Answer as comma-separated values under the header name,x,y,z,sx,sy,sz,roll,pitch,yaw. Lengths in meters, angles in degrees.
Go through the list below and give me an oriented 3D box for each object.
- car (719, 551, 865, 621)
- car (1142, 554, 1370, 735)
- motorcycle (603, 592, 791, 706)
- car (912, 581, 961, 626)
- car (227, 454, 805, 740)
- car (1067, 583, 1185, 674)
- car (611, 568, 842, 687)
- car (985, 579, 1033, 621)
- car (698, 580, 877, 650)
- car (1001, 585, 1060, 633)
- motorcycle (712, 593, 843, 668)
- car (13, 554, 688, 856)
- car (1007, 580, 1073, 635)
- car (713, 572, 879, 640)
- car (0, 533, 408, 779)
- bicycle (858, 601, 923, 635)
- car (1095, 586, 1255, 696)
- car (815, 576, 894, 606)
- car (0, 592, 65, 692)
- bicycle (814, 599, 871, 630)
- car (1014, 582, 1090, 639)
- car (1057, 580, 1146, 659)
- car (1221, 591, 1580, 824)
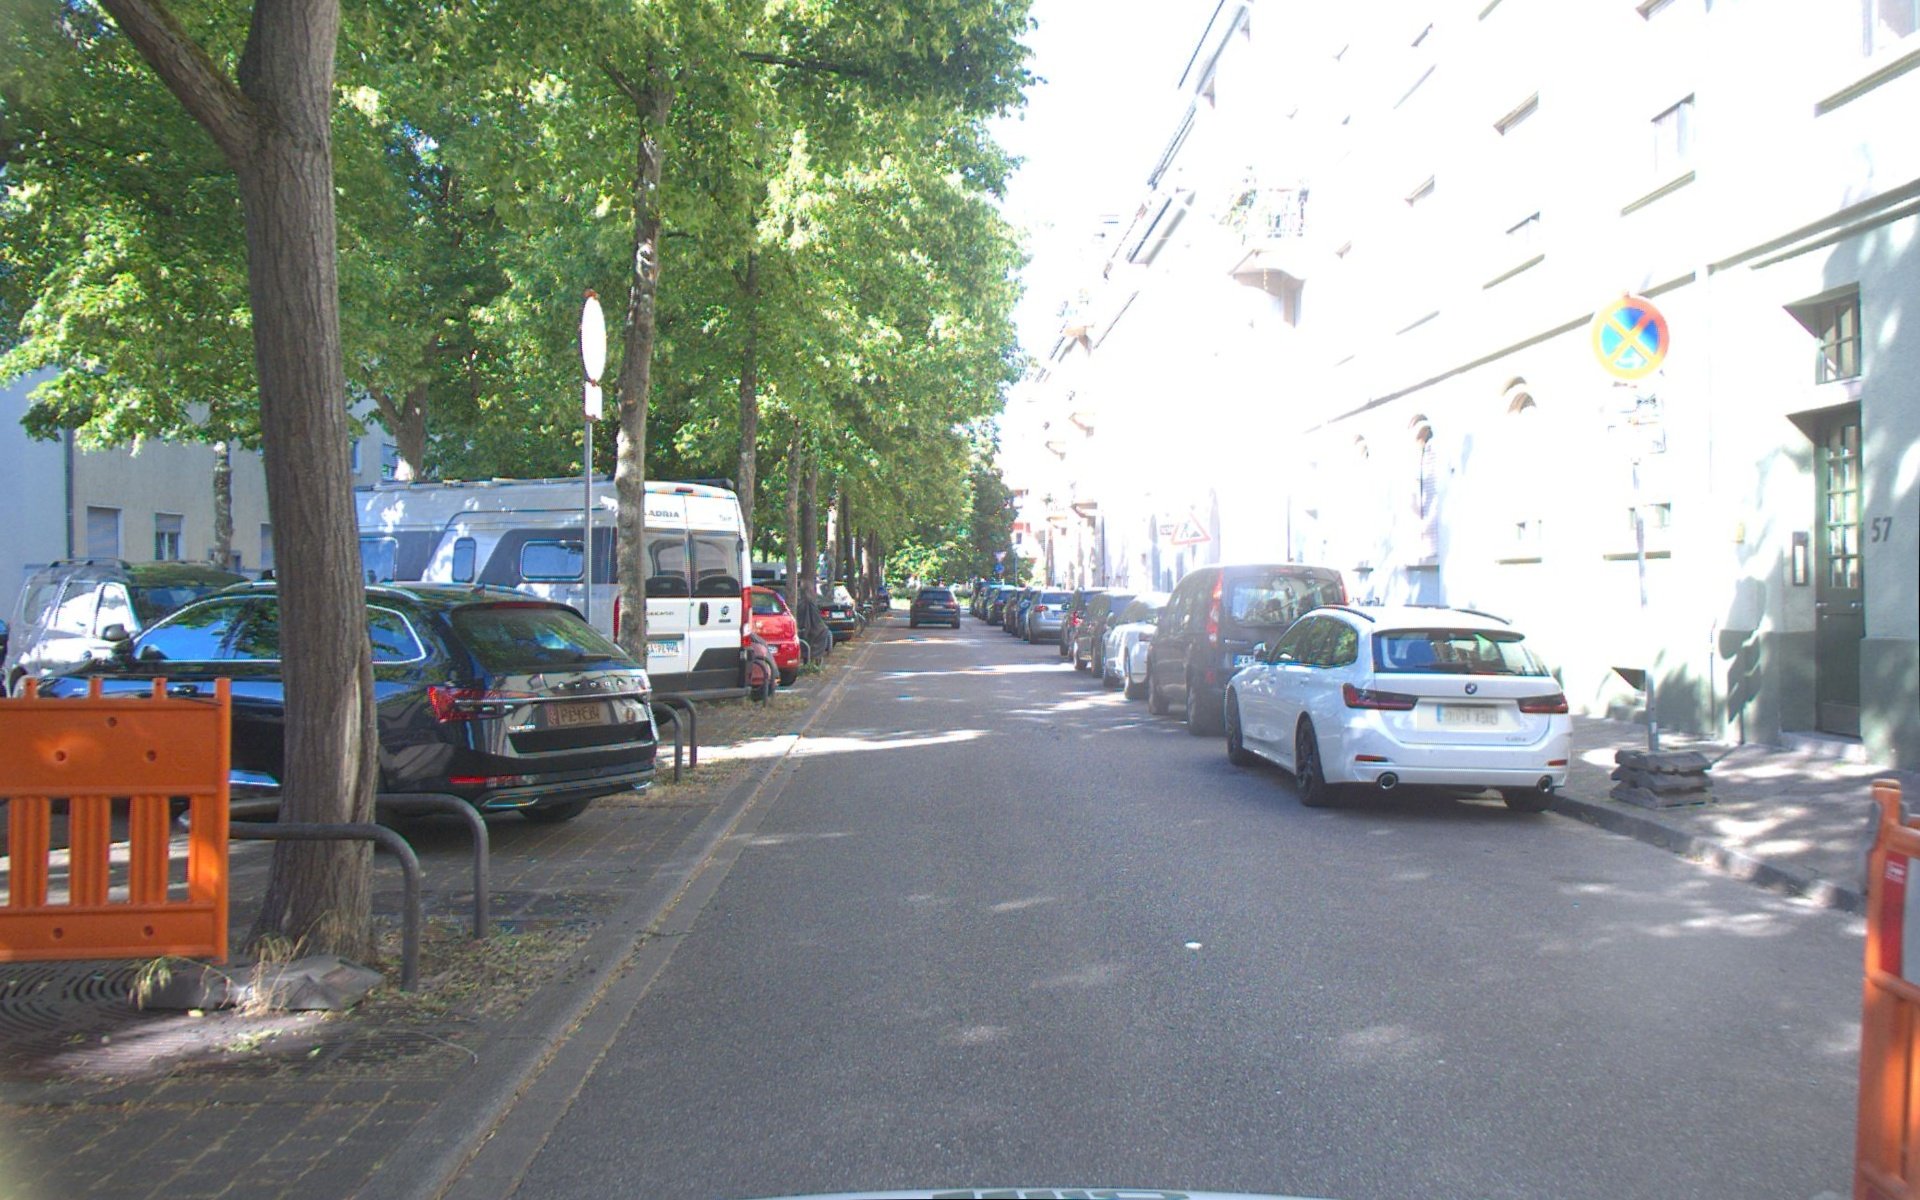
name,x,y,z,sx,sy,sz,roll,pitch,yaw
car,-7.556,-0.584,74.461,5.936,2.668,2.457,-4,-2,14
car,3.259,0.437,18.960,1.736,1.825,3.988,-1,0,-2
motorcycle,-3.326,0.599,20.947,2.277,1.358,0.966,-1,0,-11
car,-0.830,0.102,59.766,1.679,1.509,4.144,-1,1,0
car,-4.843,-0.047,17.661,6.191,2.603,2.333,1,0,31
car,2.946,0.471,29.982,1.567,1.518,3.965,-1,0,-2
car,-3.596,0.384,25.009,1.649,1.646,3.822,-2,1,-41
car,1.909,-0.019,65.416,1.768,1.591,4.320,-1,1,0
car,-3.951,0.350,37.755,3.937,1.499,1.621,-1,1,34
car,2.299,0.273,54.654,1.658,1.493,4.004,1,0,-1
motorcycle,-3.143,0.512,28.613,2.101,1.251,0.882,0,0,7
car,-3.820,0.594,10.255,4.009,1.552,1.699,-1,-3,29
car,2.392,0.187,50.275,1.731,1.579,4.183,-1,0,-1
car,-4.373,0.144,44.047,3.996,1.682,1.861,1,0,26
car,-7.109,0.433,15.261,4.306,1.948,1.988,0,0,42
bicycle,-2.001,0.508,47.792,1.858,0.935,0.379,1,0,18
car,3.058,0.531,24.377,1.574,1.445,4.566,-1,0,-2
car,-5.666,-0.490,88.423,4.015,1.492,1.862,1,-1,-10
car,-15.071,0.663,24.352,1.715,1.461,4.079,-2,1,-4
bicycle,-3.802,0.470,53.385,1.772,1.011,0.426,0,0,14
car,2.476,0.250,45.391,1.734,1.456,4.290,-1,0,-1
car,2.979,0.377,35.380,1.548,1.578,4.041,0,0,0
car,3.327,0.717,13.358,1.670,1.538,4.283,-1,0,-1
